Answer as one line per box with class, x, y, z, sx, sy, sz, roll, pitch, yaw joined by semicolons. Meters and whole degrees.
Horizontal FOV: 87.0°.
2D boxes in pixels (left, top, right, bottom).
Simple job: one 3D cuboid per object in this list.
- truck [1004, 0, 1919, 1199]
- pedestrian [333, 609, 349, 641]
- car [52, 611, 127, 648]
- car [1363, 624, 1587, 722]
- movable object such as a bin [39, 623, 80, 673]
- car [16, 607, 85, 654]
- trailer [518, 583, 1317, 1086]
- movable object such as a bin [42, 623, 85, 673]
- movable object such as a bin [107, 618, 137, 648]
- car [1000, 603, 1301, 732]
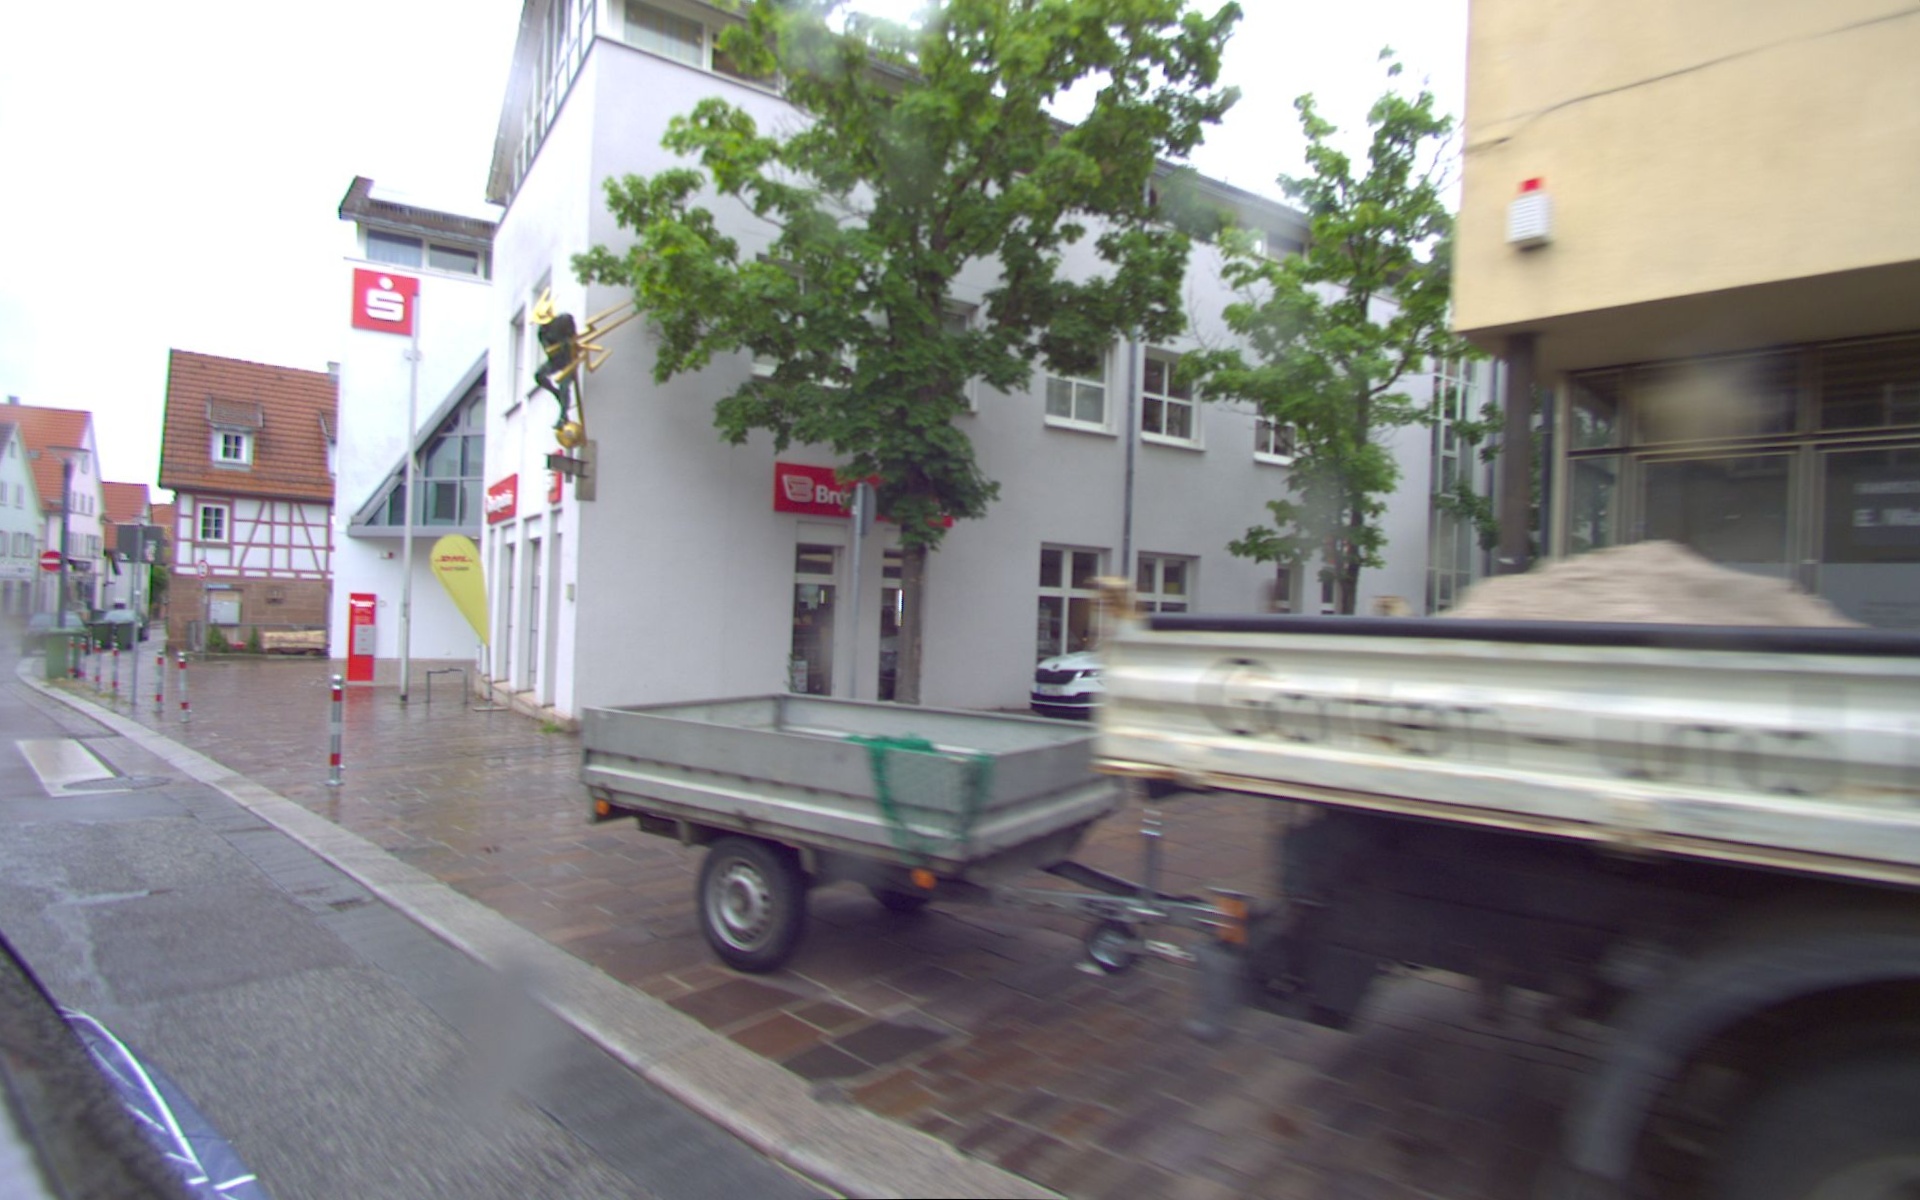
truck;3.430;-0.071;1.368;6.593;2.816;2.449;-1;-3;40
pedestrian;-22.703;0.906;37.128;0.405;1.163;0.425;3;-3;-38
car;-38.842;1.279;45.268;1.966;1.541;4.011;0;0;-32
car;9.423;1.308;18.451;3.933;1.578;1.936;3;-2;-34
movable object such as a bin;-20.756;1.106;23.333;0.650;1.123;0.553;4;-3;-41
car;-31.415;1.022;34.979;1.669;1.497;4.005;2;-1;-42
trailer;-0.311;0.697;4.430;3.157;1.357;1.710;-1;-3;39
movable object such as a bin;-20.078;1.075;22.671;0.650;1.104;0.614;4;-3;-43
movable object such as a bin;-32.574;1.289;39.354;0.822;1.120;0.921;3;-2;-40
car;2.744;0.931;14.320;3.933;1.576;1.971;3;-3;-34
